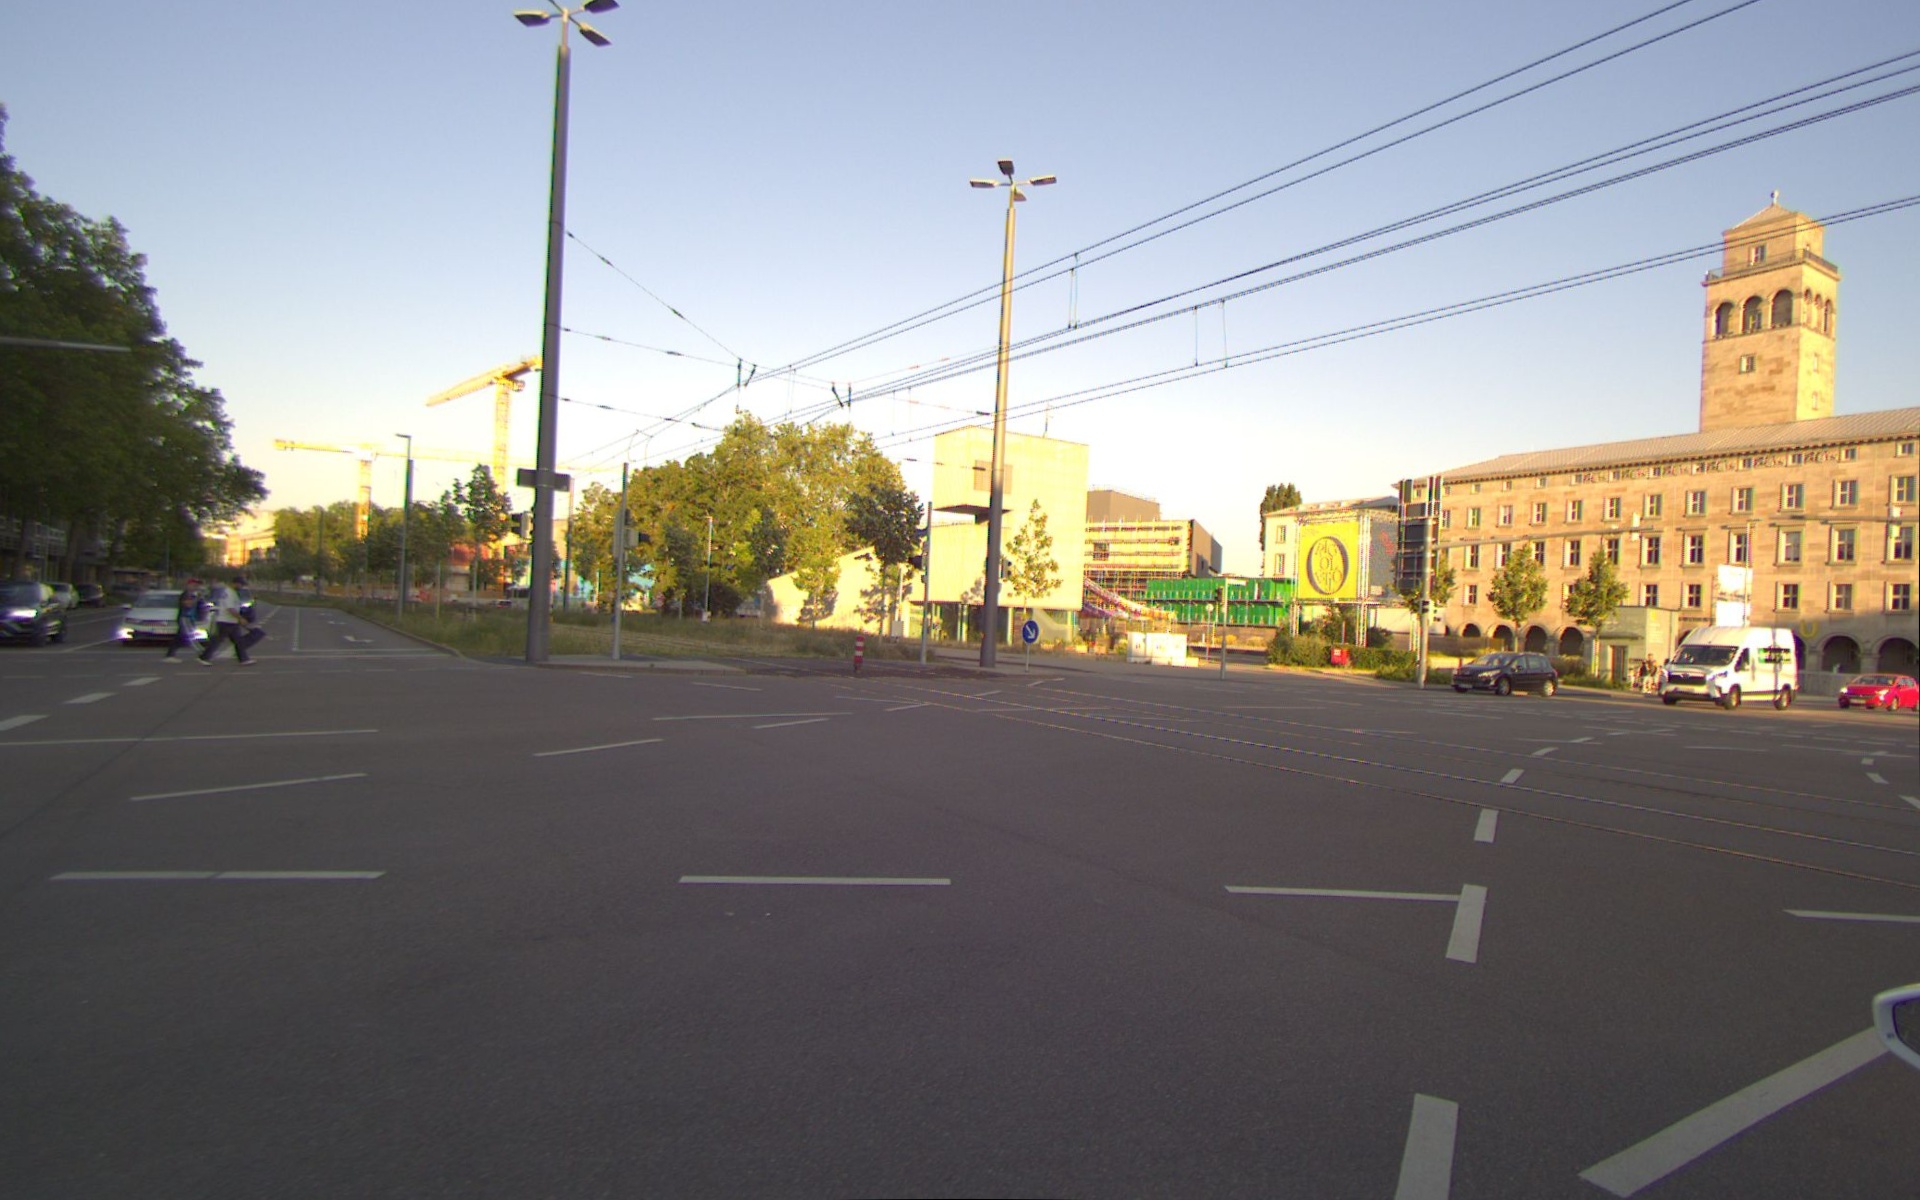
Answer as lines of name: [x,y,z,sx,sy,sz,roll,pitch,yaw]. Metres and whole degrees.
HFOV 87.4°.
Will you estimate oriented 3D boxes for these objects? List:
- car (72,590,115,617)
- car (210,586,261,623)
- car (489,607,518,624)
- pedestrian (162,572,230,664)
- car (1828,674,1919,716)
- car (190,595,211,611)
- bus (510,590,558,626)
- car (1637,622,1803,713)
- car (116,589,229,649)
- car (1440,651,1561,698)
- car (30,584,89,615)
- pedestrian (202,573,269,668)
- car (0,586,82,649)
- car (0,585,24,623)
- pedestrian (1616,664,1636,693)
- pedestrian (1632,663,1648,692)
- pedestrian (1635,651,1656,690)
car: [-55.677,0.219,64.613,1.726,1.605,4.542,2,-1,-37]
car: [-33.754,0.195,46.821,1.834,1.605,4.544,2,-1,-36]
car: [-46.665,1.614,102.644,1.726,1.605,4.420,2,-1,-37]
pedestrian: [-15.034,0.354,19.793,0.949,1.743,0.815,3,-1,-35]
car: [37.075,3.800,40.546,3.949,1.506,1.732,3,-1,-27]
car: [-81.370,0.330,107.641,1.726,1.605,4.542,2,-1,-37]
bus: [-49.014,0.878,115.316,2.961,3.818,10.336,3,-1,-35]
car: [25.621,2.278,33.811,6.012,2.812,2.268,3,-1,-30]
car: [-21.510,0.489,27.612,1.830,1.476,4.552,2,-1,-31]
car: [19.239,2.653,35.739,4.106,1.485,1.816,3,-1,-28]
car: [-49.345,-0.033,55.097,1.723,1.605,3.762,2,-1,-32]
pedestrian: [-13.813,0.400,19.183,0.949,1.743,0.815,3,-1,-35]
car: [-23.640,0.388,25.109,1.830,1.476,3.919,2,-1,-31]
car: [-41.848,0.126,42.928,1.722,1.605,4.552,2,-1,-31]
pedestrian: [31.521,3.699,47.536,0.694,1.317,0.502,4,0,-36]
pedestrian: [31.599,3.606,46.685,0.456,1.317,0.418,4,0,-36]
pedestrian: [32.176,3.320,47.162,0.456,1.767,0.617,4,0,-36]
